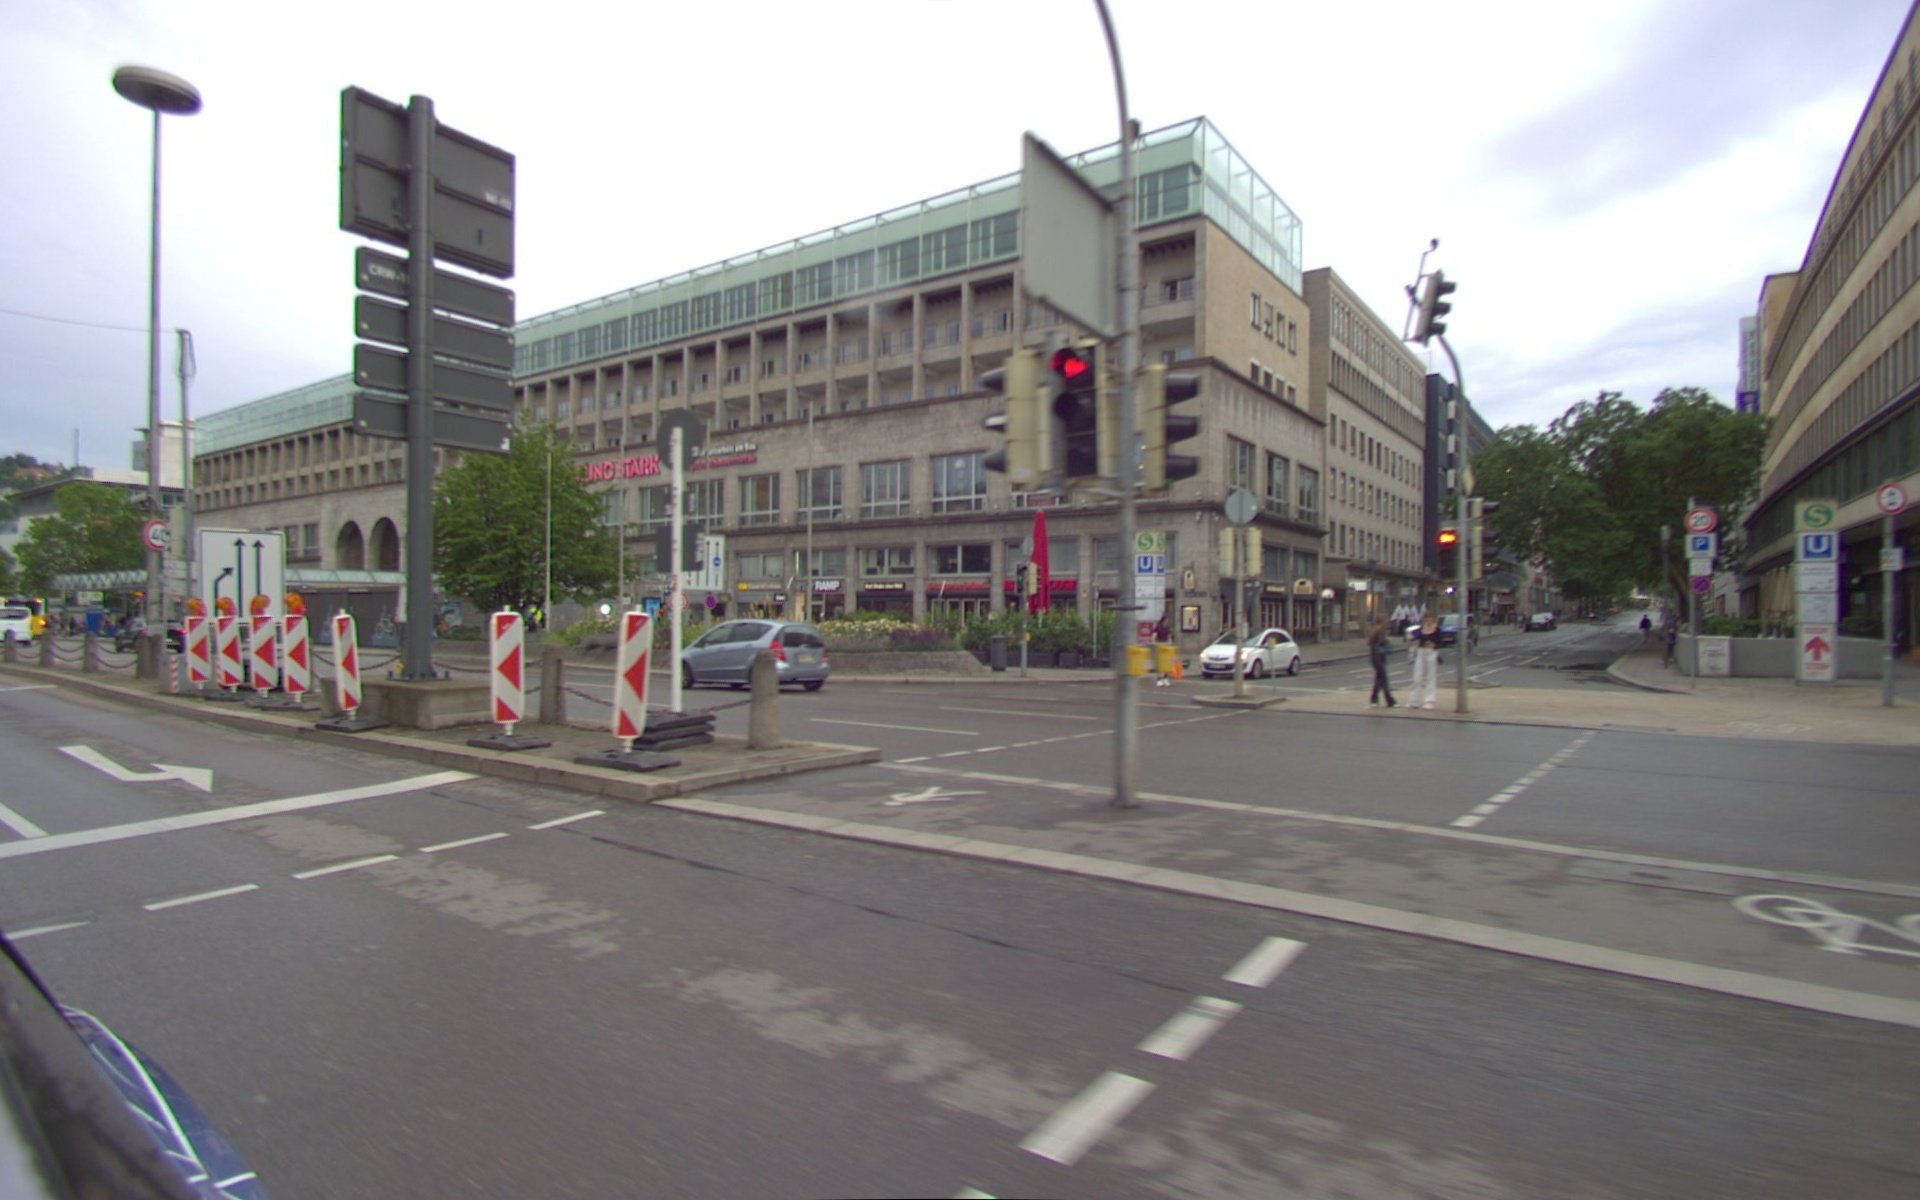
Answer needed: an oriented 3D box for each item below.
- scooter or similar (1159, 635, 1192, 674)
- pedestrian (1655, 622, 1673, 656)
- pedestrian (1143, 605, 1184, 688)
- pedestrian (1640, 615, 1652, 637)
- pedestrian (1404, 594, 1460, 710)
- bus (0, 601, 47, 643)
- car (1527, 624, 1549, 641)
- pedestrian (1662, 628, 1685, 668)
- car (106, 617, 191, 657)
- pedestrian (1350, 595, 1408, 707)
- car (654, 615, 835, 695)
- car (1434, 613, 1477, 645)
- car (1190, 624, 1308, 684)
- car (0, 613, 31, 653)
[{"bbox_3d":[7.048,1.774,33.163,1.039,1.254,0.424,0,-2,12],"label":"scooter or similar"},{"bbox_3d":[30.206,1.667,43.422,0.600,1.375,0.693,-1,1,33],"label":"pedestrian"},{"bbox_3d":[5.109,1.163,25.411,0.806,2.029,0.697,-1,-2,37],"label":"pedestrian"},{"bbox_3d":[42.787,1.623,63.110,0.564,1.308,0.617,-1,1,33],"label":"pedestrian"},{"bbox_3d":[8.071,0.878,17.305,0.750,1.940,0.584,-1,-2,36],"label":"pedestrian"},{"bbox_3d":[-71.827,1.659,75.809,9.798,2.963,2.877,-1,-2,35],"label":"bus"},{"bbox_3d":[54.093,3.029,94.685,1.626,1.618,3.585,-1,-2,31],"label":"car"},{"bbox_3d":[25.451,1.696,36.097,0.601,1.375,0.692,-1,1,38],"label":"pedestrian"},{"bbox_3d":[-36.002,1.631,44.868,3.991,1.697,1.865,-1,-2,35],"label":"car"},{"bbox_3d":[7.382,0.888,17.833,0.705,1.940,0.593,0,-2,-12],"label":"pedestrian"},{"bbox_3d":[-4.840,1.186,22.559,3.992,1.634,1.738,-1,-2,36],"label":"car"},{"bbox_3d":[28.148,1.669,57.481,1.791,1.741,4.040,-1,-2,32],"label":"car"},{"bbox_3d":[8.600,1.547,29.960,1.805,1.652,4.037,-2,-2,42],"label":"car"},{"bbox_3d":[-49.183,1.689,51.533,3.992,1.988,2.013,-1,-2,36],"label":"car"}]
